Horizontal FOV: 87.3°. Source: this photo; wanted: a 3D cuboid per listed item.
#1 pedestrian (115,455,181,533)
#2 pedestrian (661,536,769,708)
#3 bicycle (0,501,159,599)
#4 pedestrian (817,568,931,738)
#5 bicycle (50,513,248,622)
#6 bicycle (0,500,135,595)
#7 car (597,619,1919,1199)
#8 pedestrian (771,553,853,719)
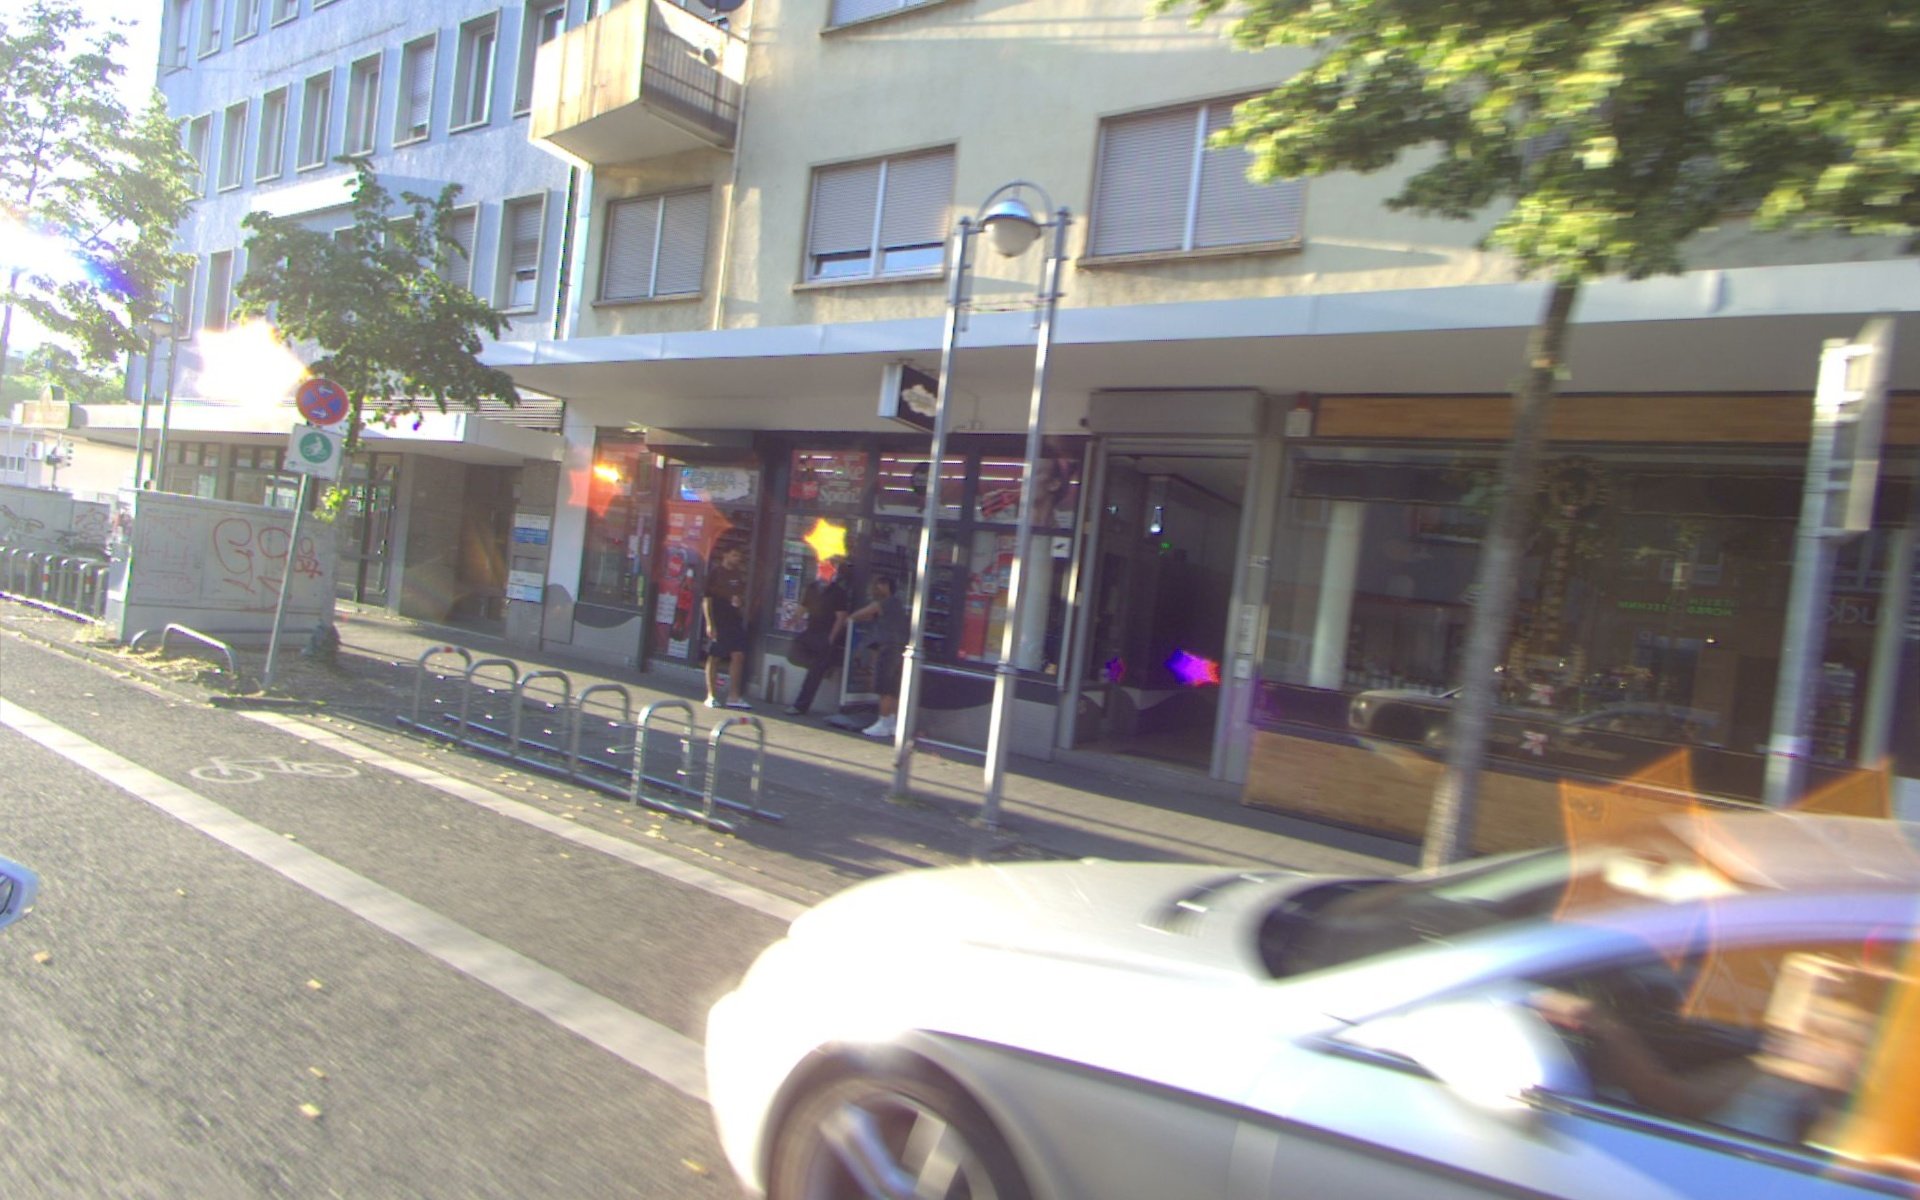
[{"bbox_3d":[-21.576,-2.801,26.739,0.791,1.911,0.993,6,2,13],"label":"pedestrian"},{"bbox_3d":[-2.767,0.263,11.390,0.639,1.829,0.709,8,0,33],"label":"pedestrian"},{"bbox_3d":[-12.943,-0.704,14.619,0.462,1.219,1.913,7,1,34],"label":"bicycle"},{"bbox_3d":[-0.918,0.566,10.767,0.764,1.679,0.642,8,0,33],"label":"pedestrian"},{"bbox_3d":[-10.303,-0.374,12.875,0.461,1.219,1.918,7,1,22],"label":"bicycle"},{"bbox_3d":[-13.425,-0.774,14.760,0.462,1.219,1.913,7,1,34],"label":"bicycle"},{"bbox_3d":[1.589,1.062,1.897,4.477,1.394,1.804,7,-1,32],"label":"car"},{"bbox_3d":[-1.692,0.413,11.589,0.518,1.804,0.582,8,0,13],"label":"pedestrian"}]
